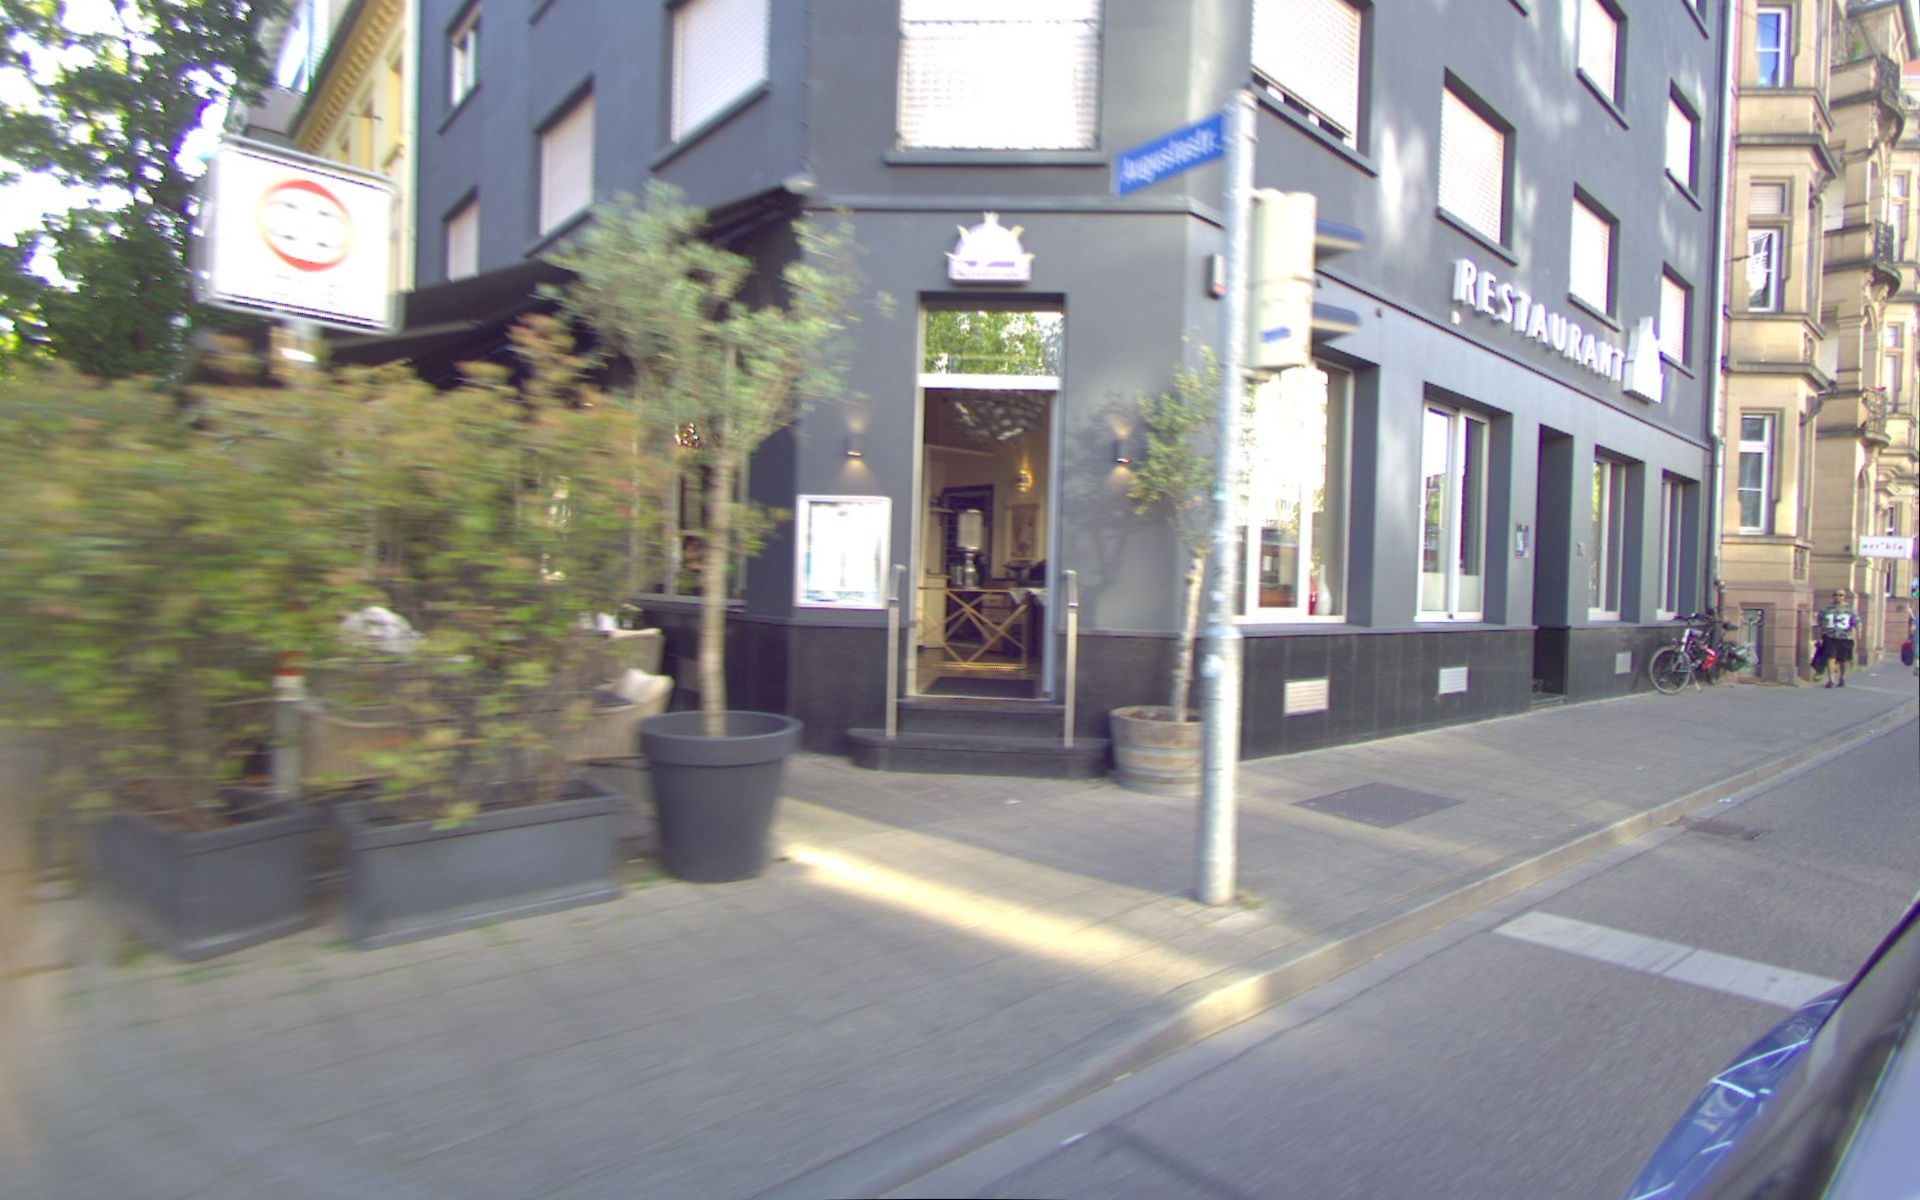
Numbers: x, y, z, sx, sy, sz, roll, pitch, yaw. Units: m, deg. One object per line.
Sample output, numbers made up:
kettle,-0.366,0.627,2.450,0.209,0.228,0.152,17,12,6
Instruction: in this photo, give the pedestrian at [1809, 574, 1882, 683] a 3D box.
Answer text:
pedestrian,15.775,0.487,18.030,0.784,1.846,0.802,1,2,-42

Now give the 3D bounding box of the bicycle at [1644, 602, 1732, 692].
bicycle,10.855,0.664,15.063,1.875,1.212,0.624,1,4,-43

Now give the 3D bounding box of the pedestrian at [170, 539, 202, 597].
pedestrian,-22.625,-0.936,29.587,0.648,1.682,0.640,2,1,42

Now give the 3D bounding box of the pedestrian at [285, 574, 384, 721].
pedestrian,-5.523,0.393,8.930,0.639,1.218,0.649,1,1,-41

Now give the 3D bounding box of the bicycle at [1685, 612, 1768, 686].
bicycle,12.300,0.759,16.229,1.771,1.083,0.593,1,4,-39

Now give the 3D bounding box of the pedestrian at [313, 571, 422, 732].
pedestrian,-4.812,0.389,8.218,0.639,1.218,0.649,1,1,-41

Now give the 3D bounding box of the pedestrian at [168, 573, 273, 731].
pedestrian,-6.081,0.402,8.320,0.639,1.218,0.649,1,1,-41

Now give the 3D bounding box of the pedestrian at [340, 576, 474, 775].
pedestrian,-3.674,0.464,6.717,0.639,1.218,0.649,1,1,-41

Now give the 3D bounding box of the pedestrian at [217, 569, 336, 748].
pedestrian,-5.023,0.399,7.429,0.639,1.218,0.649,1,1,-41

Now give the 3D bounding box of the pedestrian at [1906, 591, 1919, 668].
pedestrian,21.327,0.669,22.129,0.818,1.665,0.764,1,2,-42

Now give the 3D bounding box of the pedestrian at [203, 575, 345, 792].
pedestrian,-4.214,0.471,6.214,0.639,1.218,0.649,1,1,-41
